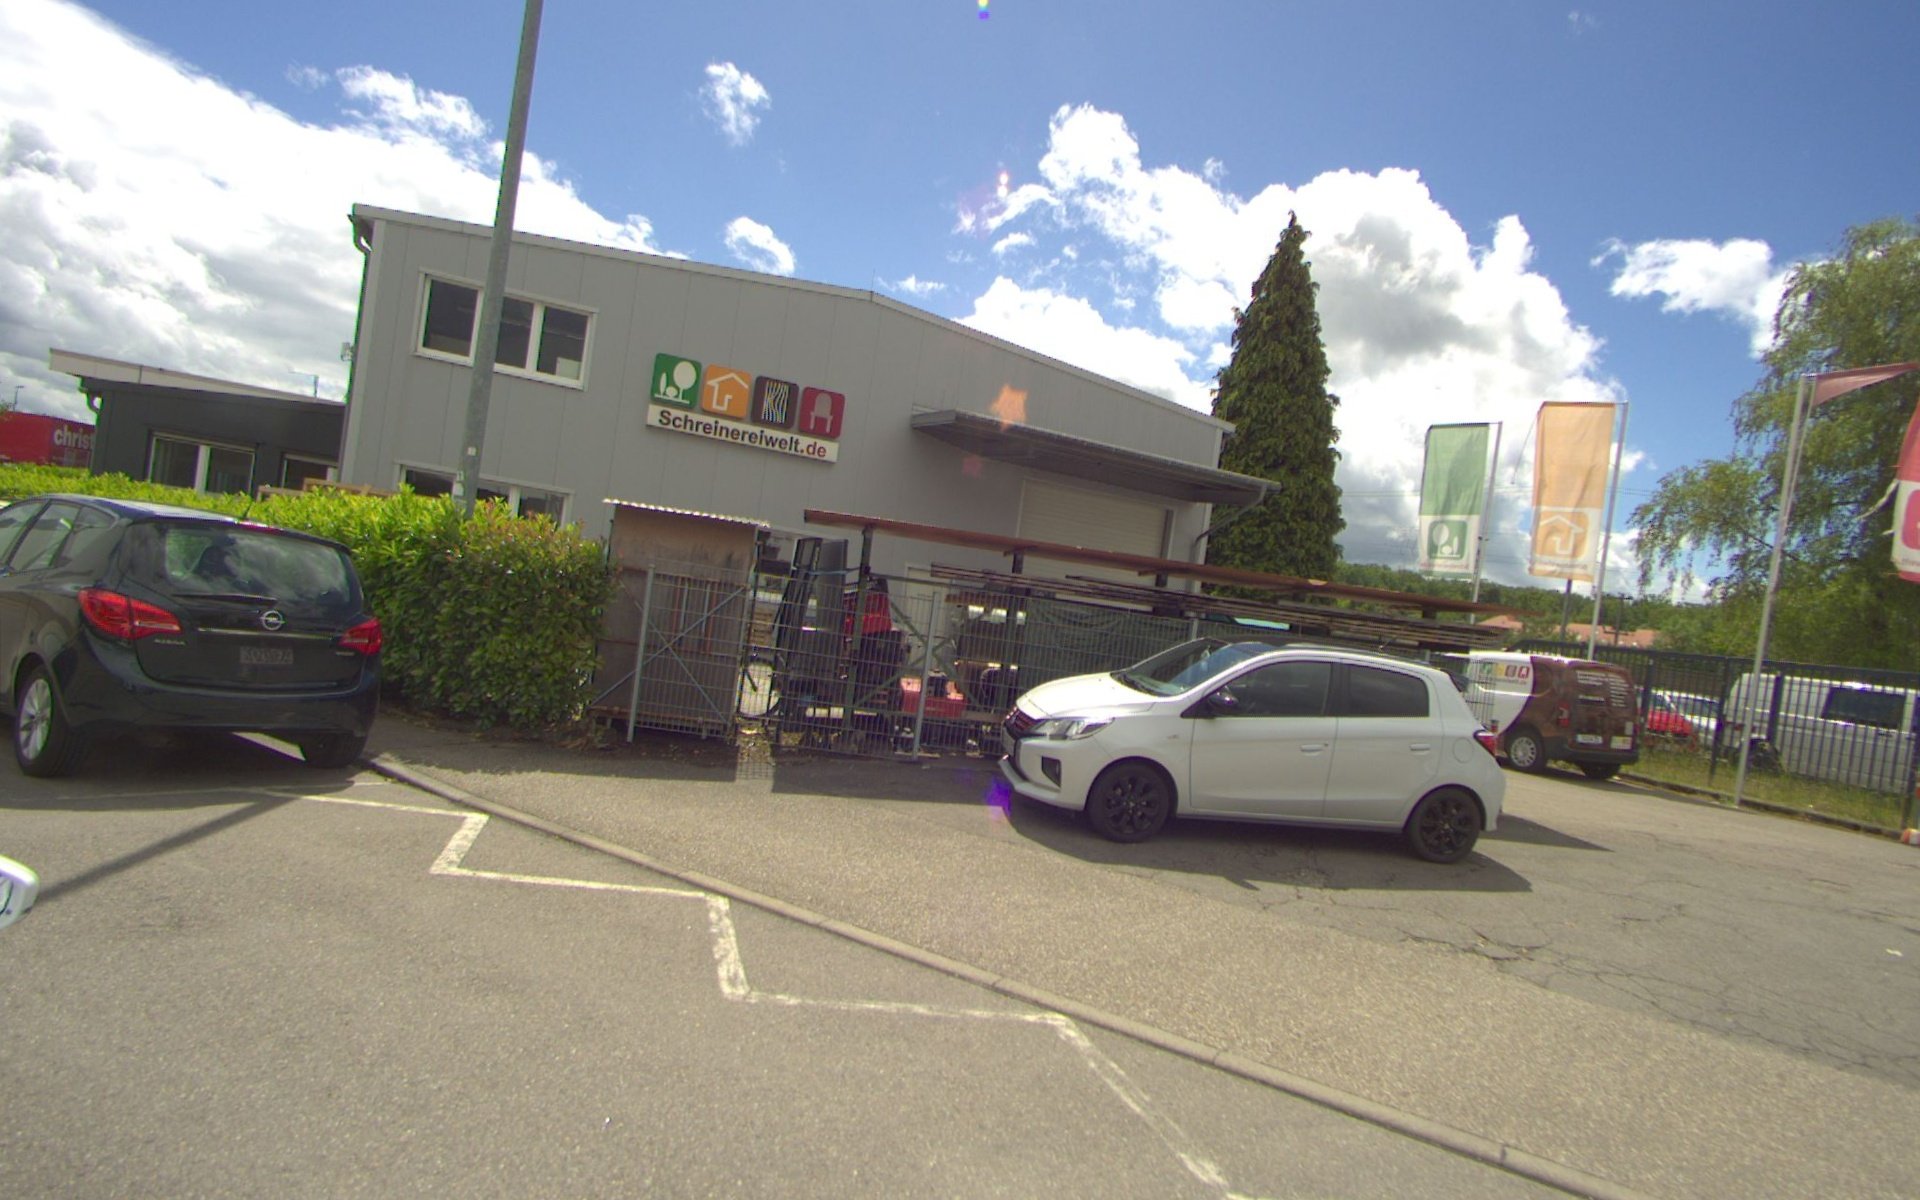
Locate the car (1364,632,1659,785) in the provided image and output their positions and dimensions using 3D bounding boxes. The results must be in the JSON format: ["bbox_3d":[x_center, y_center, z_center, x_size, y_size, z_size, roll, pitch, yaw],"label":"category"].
[{"bbox_3d":[9.068,1.711,16.957,1.792,1.895,4.023,6,0,-20],"label":"car"}]

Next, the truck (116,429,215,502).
[{"bbox_3d":[-60.403,-10.106,76.735,2.956,4.107,8.446,6,-2,-19],"label":"truck"}]

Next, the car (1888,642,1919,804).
[{"bbox_3d":[19.011,2.427,15.907,2.035,2.880,5.953,6,1,-16],"label":"car"}]

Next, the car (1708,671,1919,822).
[{"bbox_3d":[15.556,2.495,16.487,1.807,2.006,5.079,6,1,-16],"label":"car"}]

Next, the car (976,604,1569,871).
[{"bbox_3d":[2.286,1.015,7.950,4.003,1.482,1.721,6,3,-8],"label":"car"}]

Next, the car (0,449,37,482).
[{"bbox_3d":[-95.391,-13.560,99.587,5.611,2.708,1.980,7,-2,-38],"label":"car"}]

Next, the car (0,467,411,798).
[{"bbox_3d":[-5.814,0.073,6.931,4.055,1.657,1.682,7,-2,33],"label":"car"}]

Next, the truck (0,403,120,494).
[{"bbox_3d":[-56.050,-9.211,62.390,2.956,4.107,8.446,6,-2,-19],"label":"truck"}]

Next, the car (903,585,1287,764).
[{"bbox_3d":[1.456,0.823,11.700,4.003,1.525,1.684,6,3,-8],"label":"car"}]

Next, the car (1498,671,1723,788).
[{"bbox_3d":[13.835,2.690,21.667,1.565,1.809,3.817,6,1,-16],"label":"car"}]

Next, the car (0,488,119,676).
[{"bbox_3d":[-10.046,-0.396,9.528,4.655,1.559,1.658,7,-1,31],"label":"car"}]
